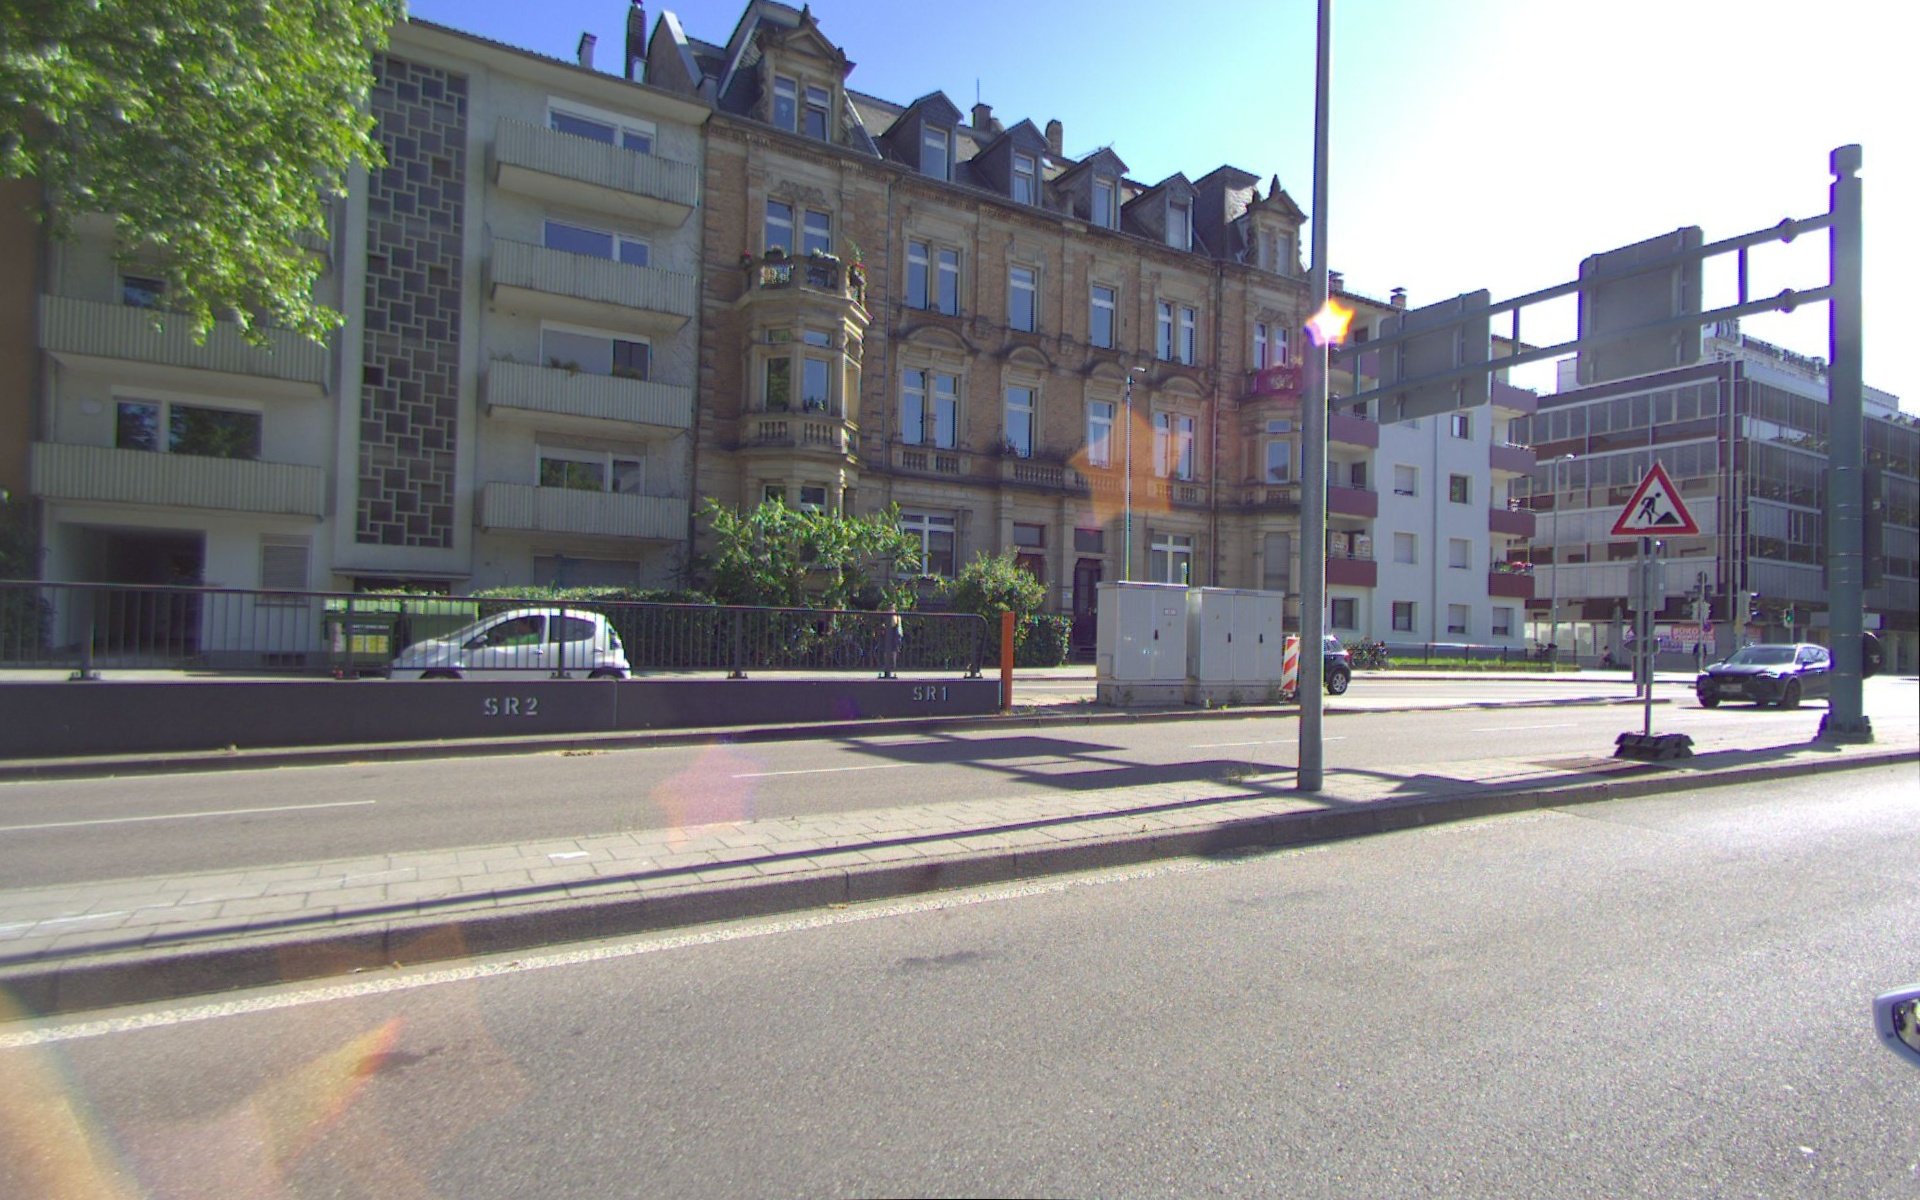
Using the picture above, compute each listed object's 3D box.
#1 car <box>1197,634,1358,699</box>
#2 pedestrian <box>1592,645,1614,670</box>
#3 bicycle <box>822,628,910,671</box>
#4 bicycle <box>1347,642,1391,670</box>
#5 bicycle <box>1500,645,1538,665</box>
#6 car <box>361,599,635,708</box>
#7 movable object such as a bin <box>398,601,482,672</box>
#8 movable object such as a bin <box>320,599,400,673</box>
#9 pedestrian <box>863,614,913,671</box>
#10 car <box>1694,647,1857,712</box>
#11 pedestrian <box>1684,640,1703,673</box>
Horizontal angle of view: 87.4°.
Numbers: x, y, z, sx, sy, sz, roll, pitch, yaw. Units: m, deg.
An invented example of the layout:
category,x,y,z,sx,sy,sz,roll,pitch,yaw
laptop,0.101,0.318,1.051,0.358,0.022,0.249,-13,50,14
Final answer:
category,x,y,z,sx,sy,sz,roll,pitch,yaw
car,7.643,1.545,24.115,3.643,1.457,1.622,1,-2,-28
pedestrian,30.967,2.789,48.374,0.783,1.168,0.711,3,-2,-41
bicycle,-2.362,1.255,25.481,2.224,1.018,0.464,2,0,-31
bicycle,14.347,1.964,35.238,1.916,0.971,0.303,2,-2,-29
bicycle,29.312,2.886,52.658,1.852,0.991,0.507,2,-1,-13
car,-7.047,0.783,15.453,3.646,1.506,1.620,2,-1,-30
movable object such as a bin,-10.412,0.735,20.156,1.455,1.378,0.889,1,-3,-28
movable object such as a bin,-11.636,0.701,19.527,1.299,1.380,0.889,1,-3,-30
pedestrian,-1.804,1.065,25.146,1.078,1.396,0.563,2,-1,-31
car,19.615,1.885,24.123,4.260,1.459,1.600,2,-4,-30
pedestrian,37.124,2.849,50.818,0.688,1.679,0.745,1,-1,31
